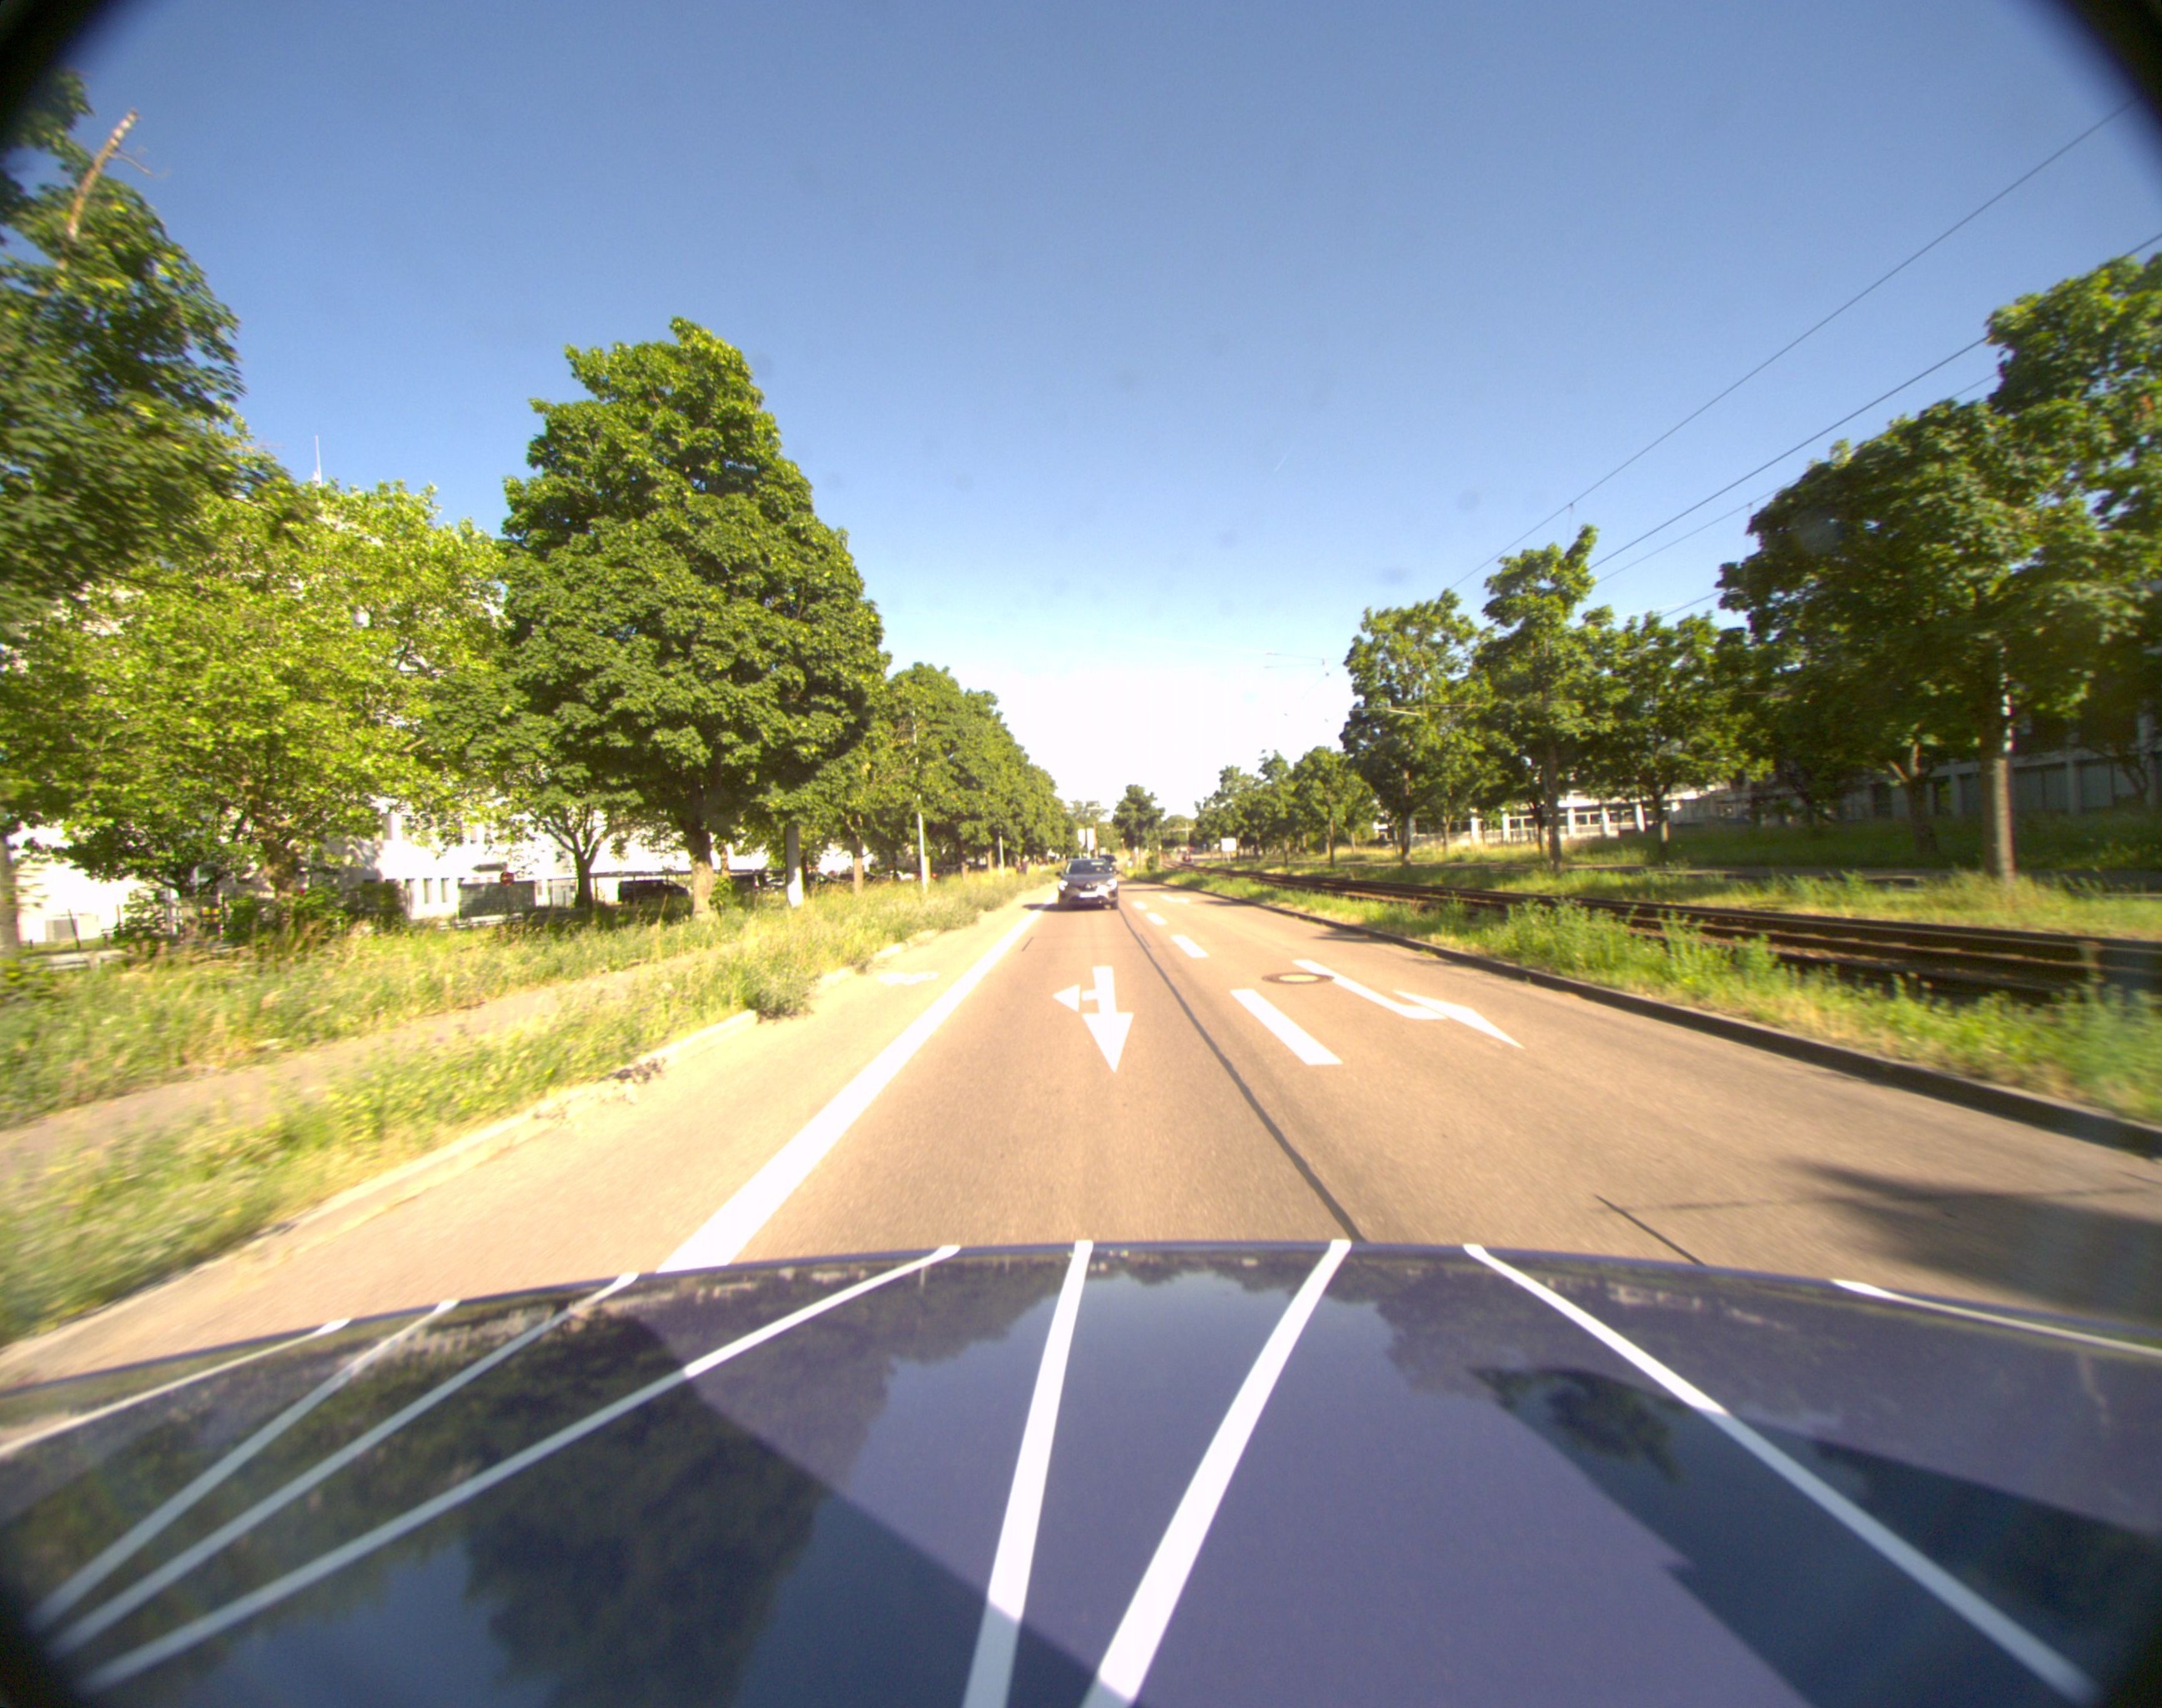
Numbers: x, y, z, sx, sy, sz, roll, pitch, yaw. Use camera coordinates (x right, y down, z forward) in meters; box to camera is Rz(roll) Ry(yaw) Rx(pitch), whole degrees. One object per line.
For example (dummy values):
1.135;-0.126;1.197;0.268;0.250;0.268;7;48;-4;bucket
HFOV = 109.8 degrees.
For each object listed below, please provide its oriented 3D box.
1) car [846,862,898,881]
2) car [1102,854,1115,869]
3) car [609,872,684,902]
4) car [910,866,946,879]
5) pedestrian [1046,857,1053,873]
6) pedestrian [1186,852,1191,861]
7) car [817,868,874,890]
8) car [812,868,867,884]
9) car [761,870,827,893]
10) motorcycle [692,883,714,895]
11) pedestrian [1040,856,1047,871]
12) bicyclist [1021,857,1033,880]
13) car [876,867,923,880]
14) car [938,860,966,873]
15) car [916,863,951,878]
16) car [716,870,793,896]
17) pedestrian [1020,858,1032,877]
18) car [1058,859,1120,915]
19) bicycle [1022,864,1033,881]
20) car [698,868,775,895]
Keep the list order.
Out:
-20.277;1.642;73.775;4.403;1.587;1.884;-3;0;0;car
3.509;0.902;95.767;1.555;1.764;3.457;-2;0;3;car
-33.164;2.528;58.072;4.595;2.002;1.958;-3;0;4;car
-19.380;2.323;96.364;4.243;1.527;1.765;-2;0;-6;car
-3.856;1.345;93.801;0.709;1.906;0.817;-4;0;2;pedestrian
20.622;0.496;145.401;0.785;1.741;0.782;-3;0;3;pedestrian
-19.240;2.009;62.139;4.004;1.516;1.706;-3;0;0;car
-21.955;1.995;69.069;4.301;1.316;1.941;-2;-1;8;car
-21.571;2.096;57.253;4.174;1.423;1.825;-4;0;6;car
-33.395;3.114;67.073;1.653;0.965;0.538;-3;0;2;motorcycle
-4.659;1.174;93.839;0.709;1.919;0.816;-4;0;-1;pedestrian
-4.142;1.111;58.403;0.684;1.710;0.902;-3;1;3;bicyclist
-20.291;2.189;85.140;4.709;1.263;1.808;-2;-1;0;car
-18.424;1.833;108.238;3.977;1.629;1.727;-4;0;43;car
-19.109;2.151;98.526;4.348;1.690;1.765;-2;0;-6;car
-21.828;1.927;50.844;4.365;1.450;1.689;-3;0;6;car
-4.802;1.195;66.089;0.826;1.560;0.762;-3;0;4;pedestrian
0.325;0.979;24.231;1.750;1.585;4.248;-2;0;3;car
-4.109;1.383;58.268;0.484;1.197;2.144;-3;0;3;bicycle
-22.057;1.745;48.709;4.039;1.496;1.739;-3;0;3;car
